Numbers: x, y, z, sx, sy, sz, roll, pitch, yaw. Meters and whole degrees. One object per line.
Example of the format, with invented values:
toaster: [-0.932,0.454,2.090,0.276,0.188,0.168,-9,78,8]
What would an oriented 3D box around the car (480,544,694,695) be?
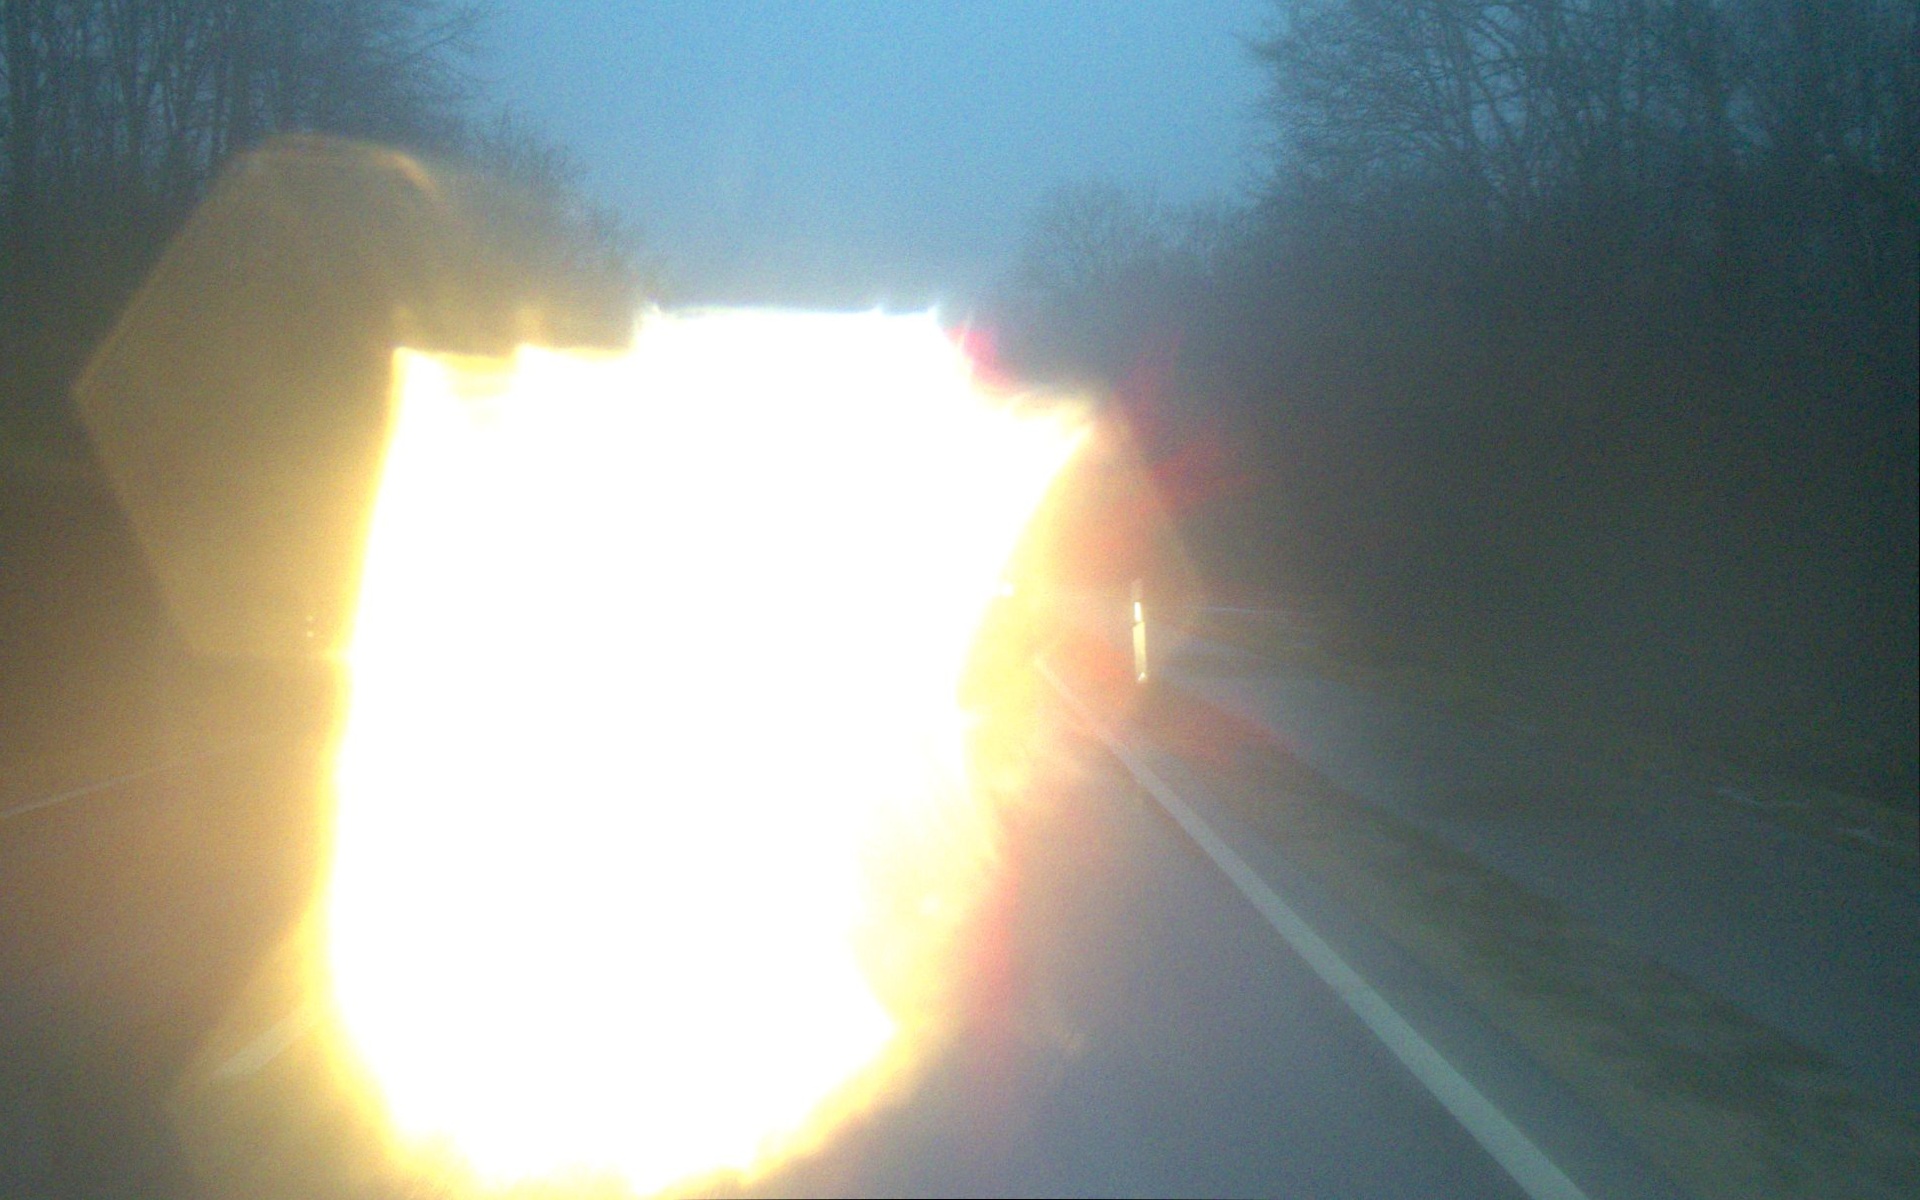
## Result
car: [-3.917,0.163,36.685,1.799,1.456,4.177,-2,1,0]

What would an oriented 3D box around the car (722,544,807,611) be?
car: [-4.682,-0.559,82.863,1.764,1.453,4.508,-4,1,-1]
